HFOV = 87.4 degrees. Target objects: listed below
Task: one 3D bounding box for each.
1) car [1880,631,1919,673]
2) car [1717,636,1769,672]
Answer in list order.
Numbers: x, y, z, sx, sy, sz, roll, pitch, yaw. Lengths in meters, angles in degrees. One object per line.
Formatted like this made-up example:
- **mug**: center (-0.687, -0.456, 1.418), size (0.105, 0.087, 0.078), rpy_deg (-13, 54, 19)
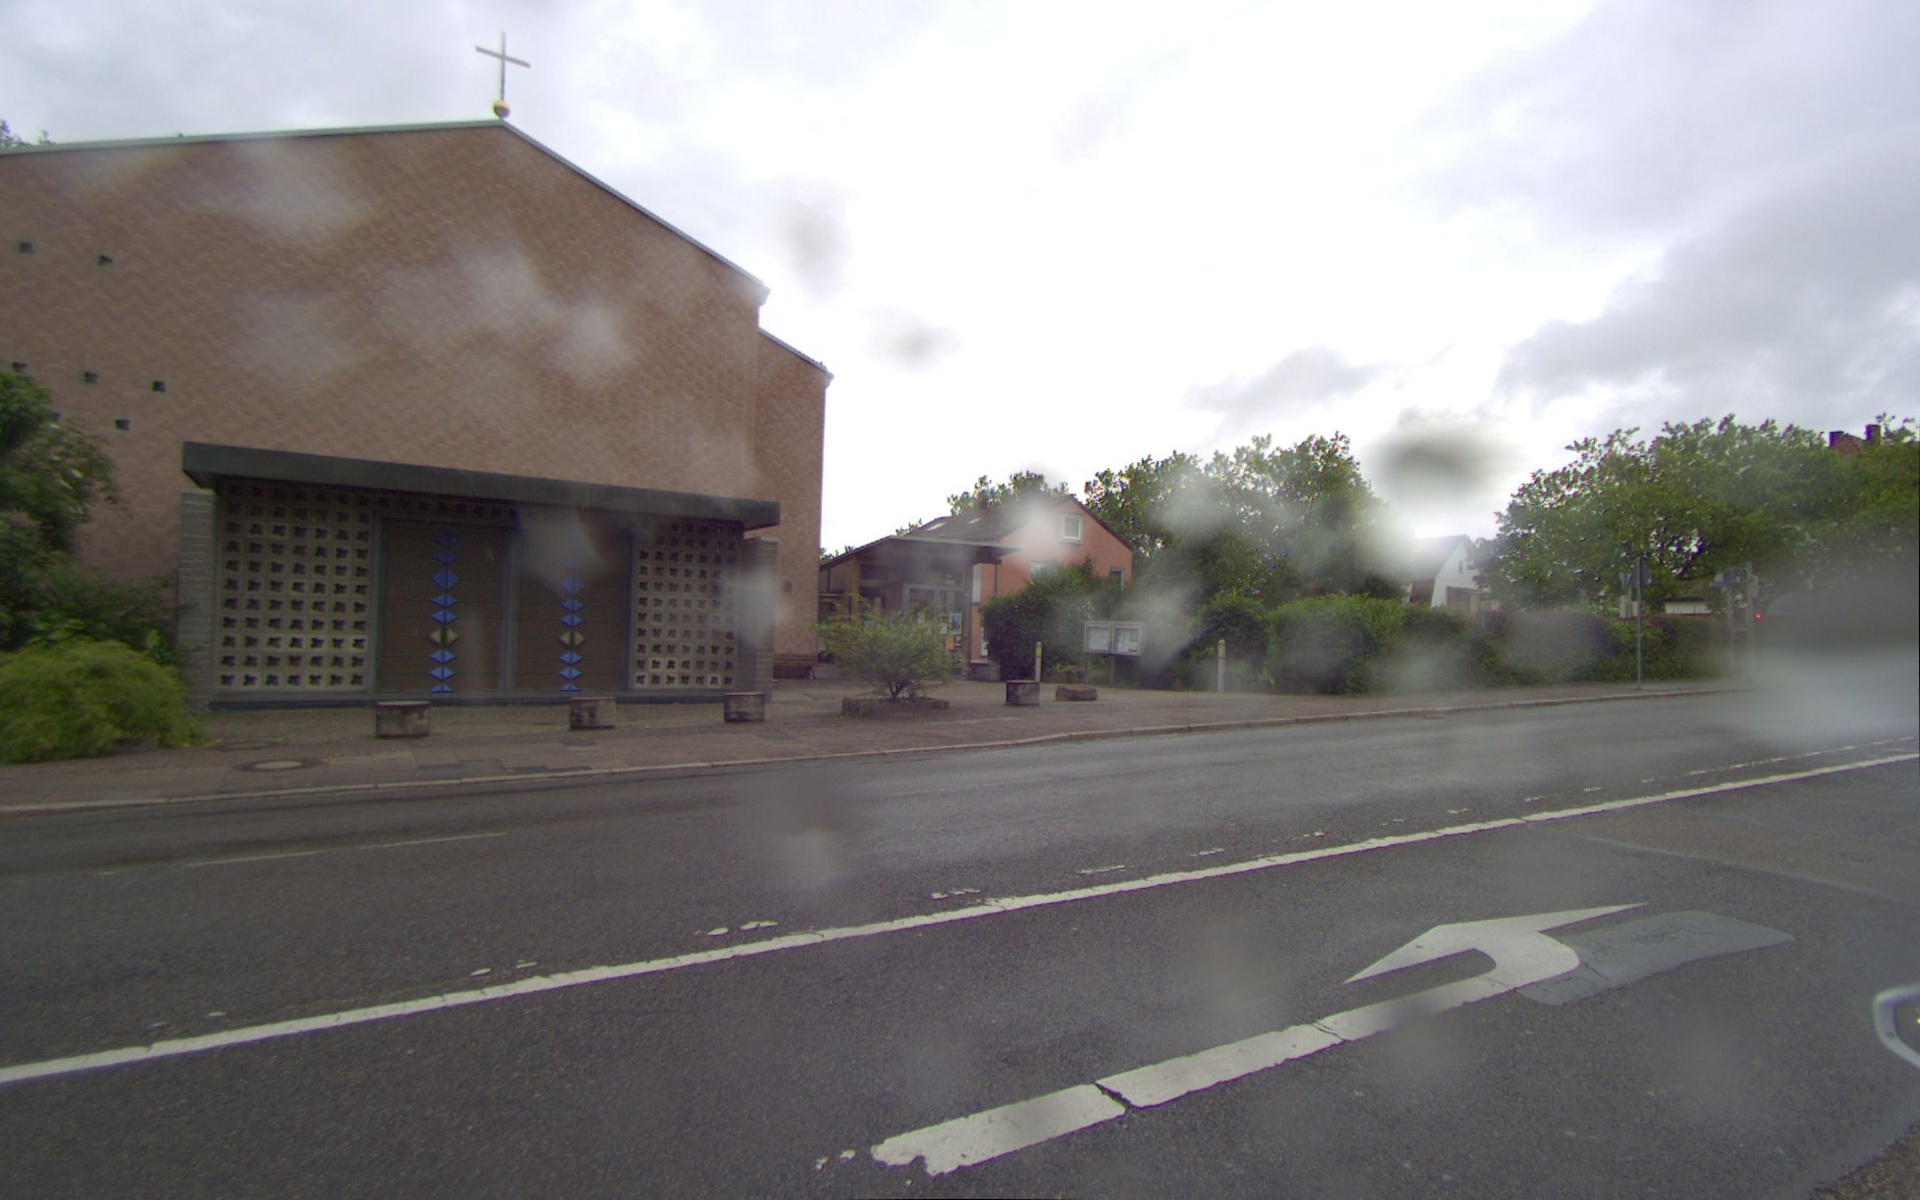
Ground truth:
- **car**: center (39.715, 2.130, 40.010), size (4.418, 1.608, 2.060), rpy_deg (1, 0, 42)
- **car**: center (38.611, 2.630, 49.528), size (1.969, 1.572, 3.983), rpy_deg (0, -1, 38)
